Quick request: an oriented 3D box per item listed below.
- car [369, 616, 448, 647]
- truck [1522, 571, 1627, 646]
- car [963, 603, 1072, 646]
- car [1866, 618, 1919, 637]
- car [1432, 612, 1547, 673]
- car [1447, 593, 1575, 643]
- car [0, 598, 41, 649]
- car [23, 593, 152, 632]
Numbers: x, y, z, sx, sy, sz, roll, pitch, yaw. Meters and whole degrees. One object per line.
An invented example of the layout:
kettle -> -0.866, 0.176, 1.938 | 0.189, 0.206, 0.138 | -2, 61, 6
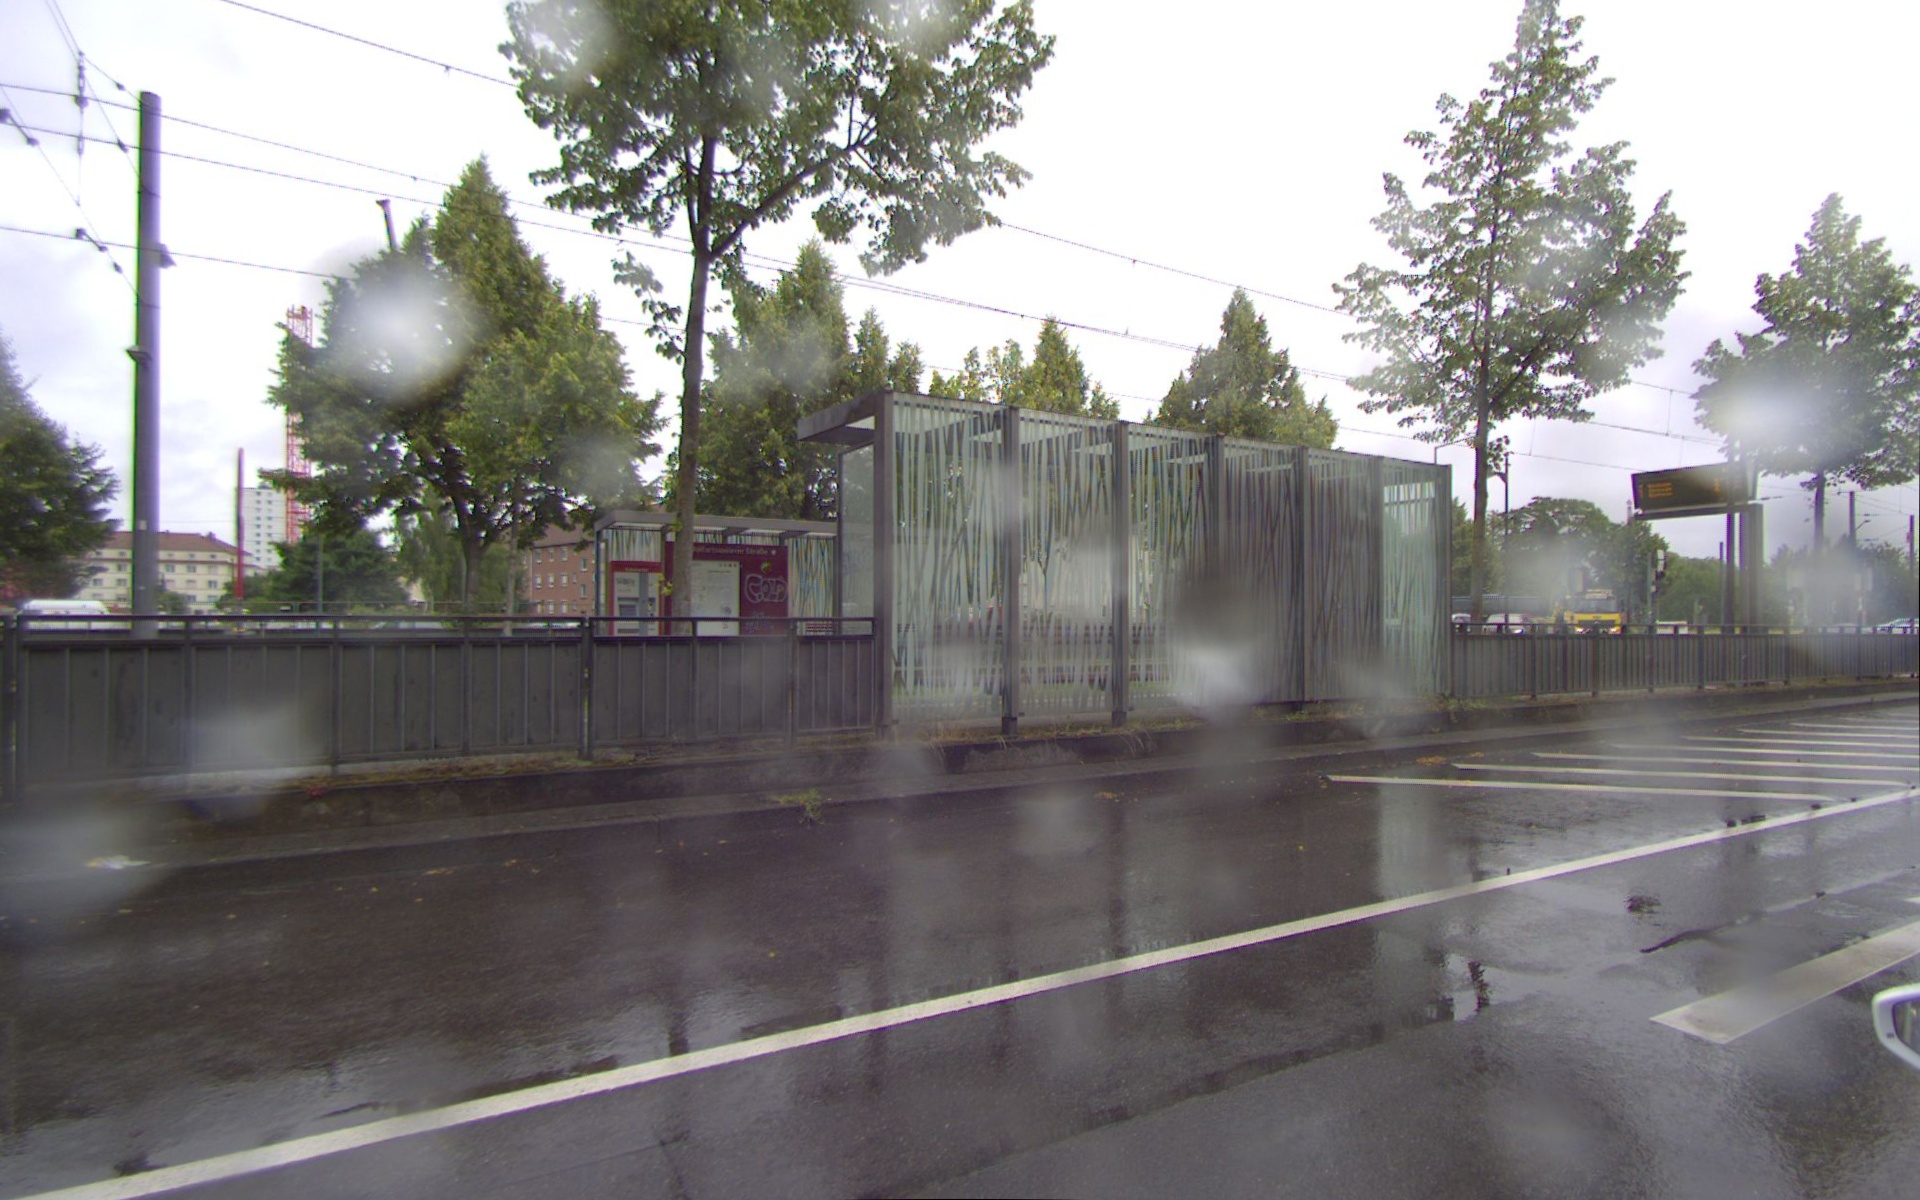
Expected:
car -> -36.651, 2.096, 66.833 | 4.385, 1.902, 1.857 | 1, 1, -37
truck -> 34.696, 0.423, 57.108 | 2.642, 3.828, 9.185 | 2, 1, 16
car -> 3.443, 1.424, 60.024 | 6.387, 2.503, 1.616 | 0, 0, -20
car -> 75.083, 2.185, 79.693 | 4.547, 1.473, 1.618 | 0, -1, 36
car -> 18.702, 1.446, 35.477 | 3.951, 2.040, 1.749 | 1, -1, -29
car -> 47.692, 1.593, 86.927 | 10.774, 3.769, 2.452 | 3, -3, -13
car -> -50.362, 1.119, 49.873 | 6.679, 2.495, 1.981 | 1, 1, -34
car -> -50.134, 0.722, 57.870 | 5.366, 2.079, 1.981 | 1, 1, -34
